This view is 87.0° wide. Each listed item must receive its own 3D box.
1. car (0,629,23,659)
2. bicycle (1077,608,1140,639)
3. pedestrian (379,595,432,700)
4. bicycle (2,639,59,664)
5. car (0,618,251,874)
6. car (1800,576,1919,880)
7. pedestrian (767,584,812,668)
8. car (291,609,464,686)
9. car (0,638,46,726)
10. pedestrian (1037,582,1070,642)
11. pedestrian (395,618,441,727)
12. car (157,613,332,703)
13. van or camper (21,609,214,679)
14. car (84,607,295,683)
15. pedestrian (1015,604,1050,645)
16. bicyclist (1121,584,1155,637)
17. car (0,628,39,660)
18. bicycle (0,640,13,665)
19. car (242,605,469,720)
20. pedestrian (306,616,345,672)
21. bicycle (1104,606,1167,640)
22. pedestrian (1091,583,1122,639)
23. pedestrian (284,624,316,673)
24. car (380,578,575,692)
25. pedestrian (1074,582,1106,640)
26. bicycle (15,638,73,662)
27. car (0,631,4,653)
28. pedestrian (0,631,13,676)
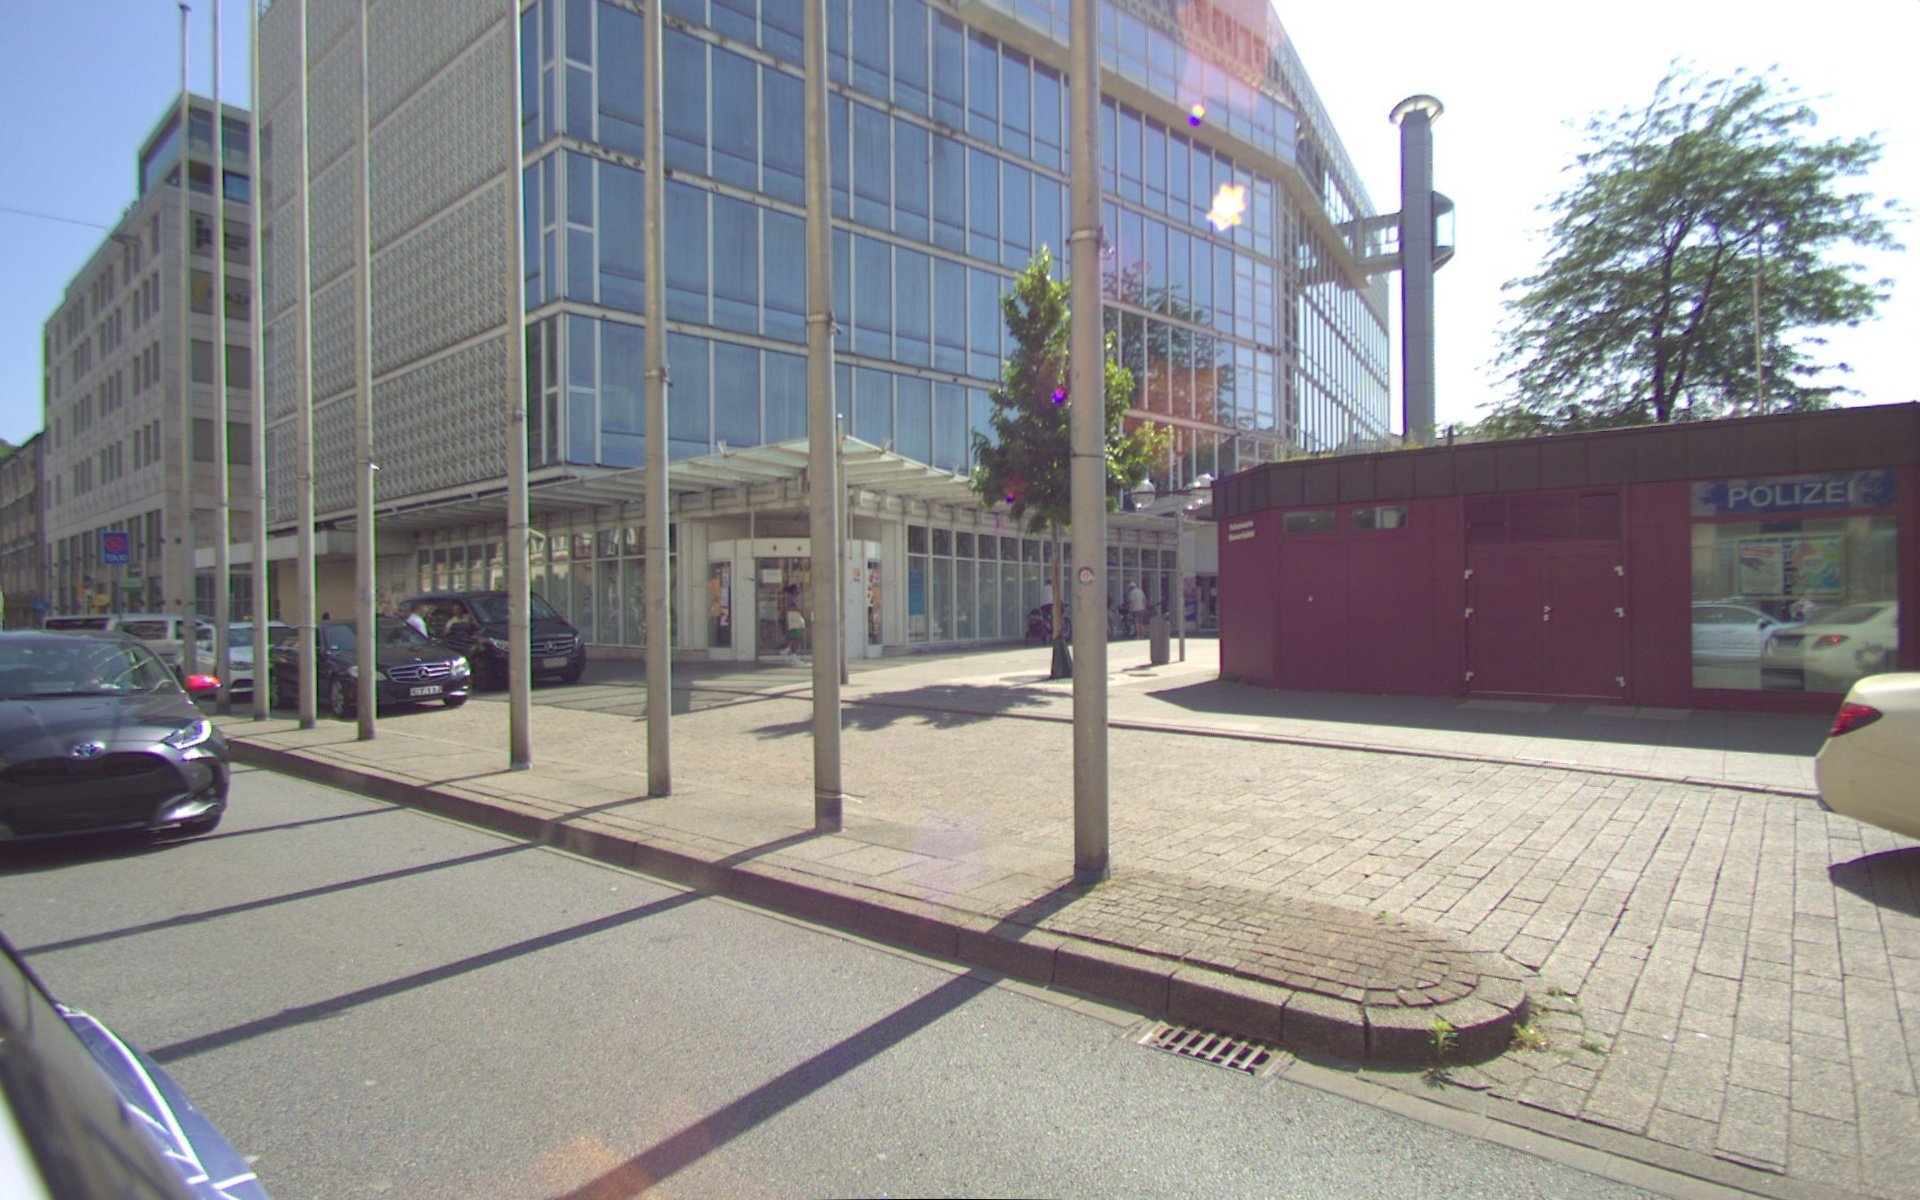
[{"bbox_3d":[-56.392,2.673,57.732,4.108,1.649,2.105,-5,3,-41],"label":"car"},{"bbox_3d":[4.776,0.755,32.648,1.930,0.973,0.568,-2,0,31],"label":"bicycle"},{"bbox_3d":[-9.844,0.827,17.990,0.610,1.806,0.694,-1,-1,-10],"label":"pedestrian"},{"bbox_3d":[-45.396,2.511,49.434,2.030,1.178,0.607,0,-1,-12],"label":"bicycle"},{"bbox_3d":[-6.920,0.951,7.546,4.106,1.489,1.843,-3,-4,43],"label":"car"},{"bbox_3d":[6.459,0.586,3.691,1.864,1.553,4.877,-2,-1,-22],"label":"car"},{"bbox_3d":[-3.604,0.546,21.369,0.674,1.728,0.723,1,-2,-40],"label":"pedestrian"},{"bbox_3d":[-13.903,1.089,24.095,4.392,1.622,1.976,-2,0,37],"label":"car"},{"bbox_3d":[-17.518,1.404,17.884,4.107,1.407,1.710,-2,-1,43],"label":"car"},{"bbox_3d":[2.819,0.370,30.455,0.651,1.778,0.768,-2,0,38],"label":"pedestrian"},{"bbox_3d":[-9.240,1.216,17.275,0.524,1.806,0.540,-1,-1,-10],"label":"pedestrian"},{"bbox_3d":[-14.377,1.117,20.234,4.736,1.534,1.780,-3,-1,41],"label":"car"},{"bbox_3d":[-28.313,1.443,34.162,4.585,2.029,2.004,-3,0,-10],"label":"van or camper"},{"bbox_3d":[-21.968,1.253,29.044,4.372,1.924,2.014,-2,-1,-13],"label":"car"},{"bbox_3d":[2.086,0.692,28.956,0.651,1.155,0.768,-2,0,38],"label":"pedestrian"},{"bbox_3d":[5.556,0.316,31.645,0.835,1.622,0.651,-1,0,-45],"label":"bicyclist"},{"bbox_3d":[-53.672,2.487,55.678,3.965,1.614,1.965,-3,2,-27],"label":"car"},{"bbox_3d":[-46.774,2.529,48.536,2.033,1.182,0.606,-1,0,-4],"label":"bicycle"},{"bbox_3d":[-9.950,0.950,16.499,4.706,1.612,1.743,-2,-1,40],"label":"car"},{"bbox_3d":[-19.783,1.361,31.569,0.640,1.673,0.780,0,2,38],"label":"pedestrian"},{"bbox_3d":[5.502,0.718,31.568,2.399,0.973,0.652,-1,0,-45],"label":"bicycle"},{"bbox_3d":[4.727,0.358,32.675,0.775,1.778,0.562,-2,0,31],"label":"pedestrian"},{"bbox_3d":[-20.248,1.479,31.049,0.640,1.447,0.587,0,2,38],"label":"pedestrian"},{"bbox_3d":[-9.763,0.675,20.304,4.683,2.029,1.813,-2,-1,41],"label":"car"},{"bbox_3d":[4.068,0.335,31.657,0.651,1.778,0.768,-2,0,38],"label":"pedestrian"},{"bbox_3d":[-45.841,2.490,50.674,2.029,1.135,0.649,-1,-1,-23],"label":"bicycle"},{"bbox_3d":[-66.751,3.041,67.146,4.426,1.443,1.869,-6,3,-30],"label":"car"},{"bbox_3d":[-34.639,1.927,36.381,0.678,1.571,0.635,-3,0,29],"label":"pedestrian"}]
